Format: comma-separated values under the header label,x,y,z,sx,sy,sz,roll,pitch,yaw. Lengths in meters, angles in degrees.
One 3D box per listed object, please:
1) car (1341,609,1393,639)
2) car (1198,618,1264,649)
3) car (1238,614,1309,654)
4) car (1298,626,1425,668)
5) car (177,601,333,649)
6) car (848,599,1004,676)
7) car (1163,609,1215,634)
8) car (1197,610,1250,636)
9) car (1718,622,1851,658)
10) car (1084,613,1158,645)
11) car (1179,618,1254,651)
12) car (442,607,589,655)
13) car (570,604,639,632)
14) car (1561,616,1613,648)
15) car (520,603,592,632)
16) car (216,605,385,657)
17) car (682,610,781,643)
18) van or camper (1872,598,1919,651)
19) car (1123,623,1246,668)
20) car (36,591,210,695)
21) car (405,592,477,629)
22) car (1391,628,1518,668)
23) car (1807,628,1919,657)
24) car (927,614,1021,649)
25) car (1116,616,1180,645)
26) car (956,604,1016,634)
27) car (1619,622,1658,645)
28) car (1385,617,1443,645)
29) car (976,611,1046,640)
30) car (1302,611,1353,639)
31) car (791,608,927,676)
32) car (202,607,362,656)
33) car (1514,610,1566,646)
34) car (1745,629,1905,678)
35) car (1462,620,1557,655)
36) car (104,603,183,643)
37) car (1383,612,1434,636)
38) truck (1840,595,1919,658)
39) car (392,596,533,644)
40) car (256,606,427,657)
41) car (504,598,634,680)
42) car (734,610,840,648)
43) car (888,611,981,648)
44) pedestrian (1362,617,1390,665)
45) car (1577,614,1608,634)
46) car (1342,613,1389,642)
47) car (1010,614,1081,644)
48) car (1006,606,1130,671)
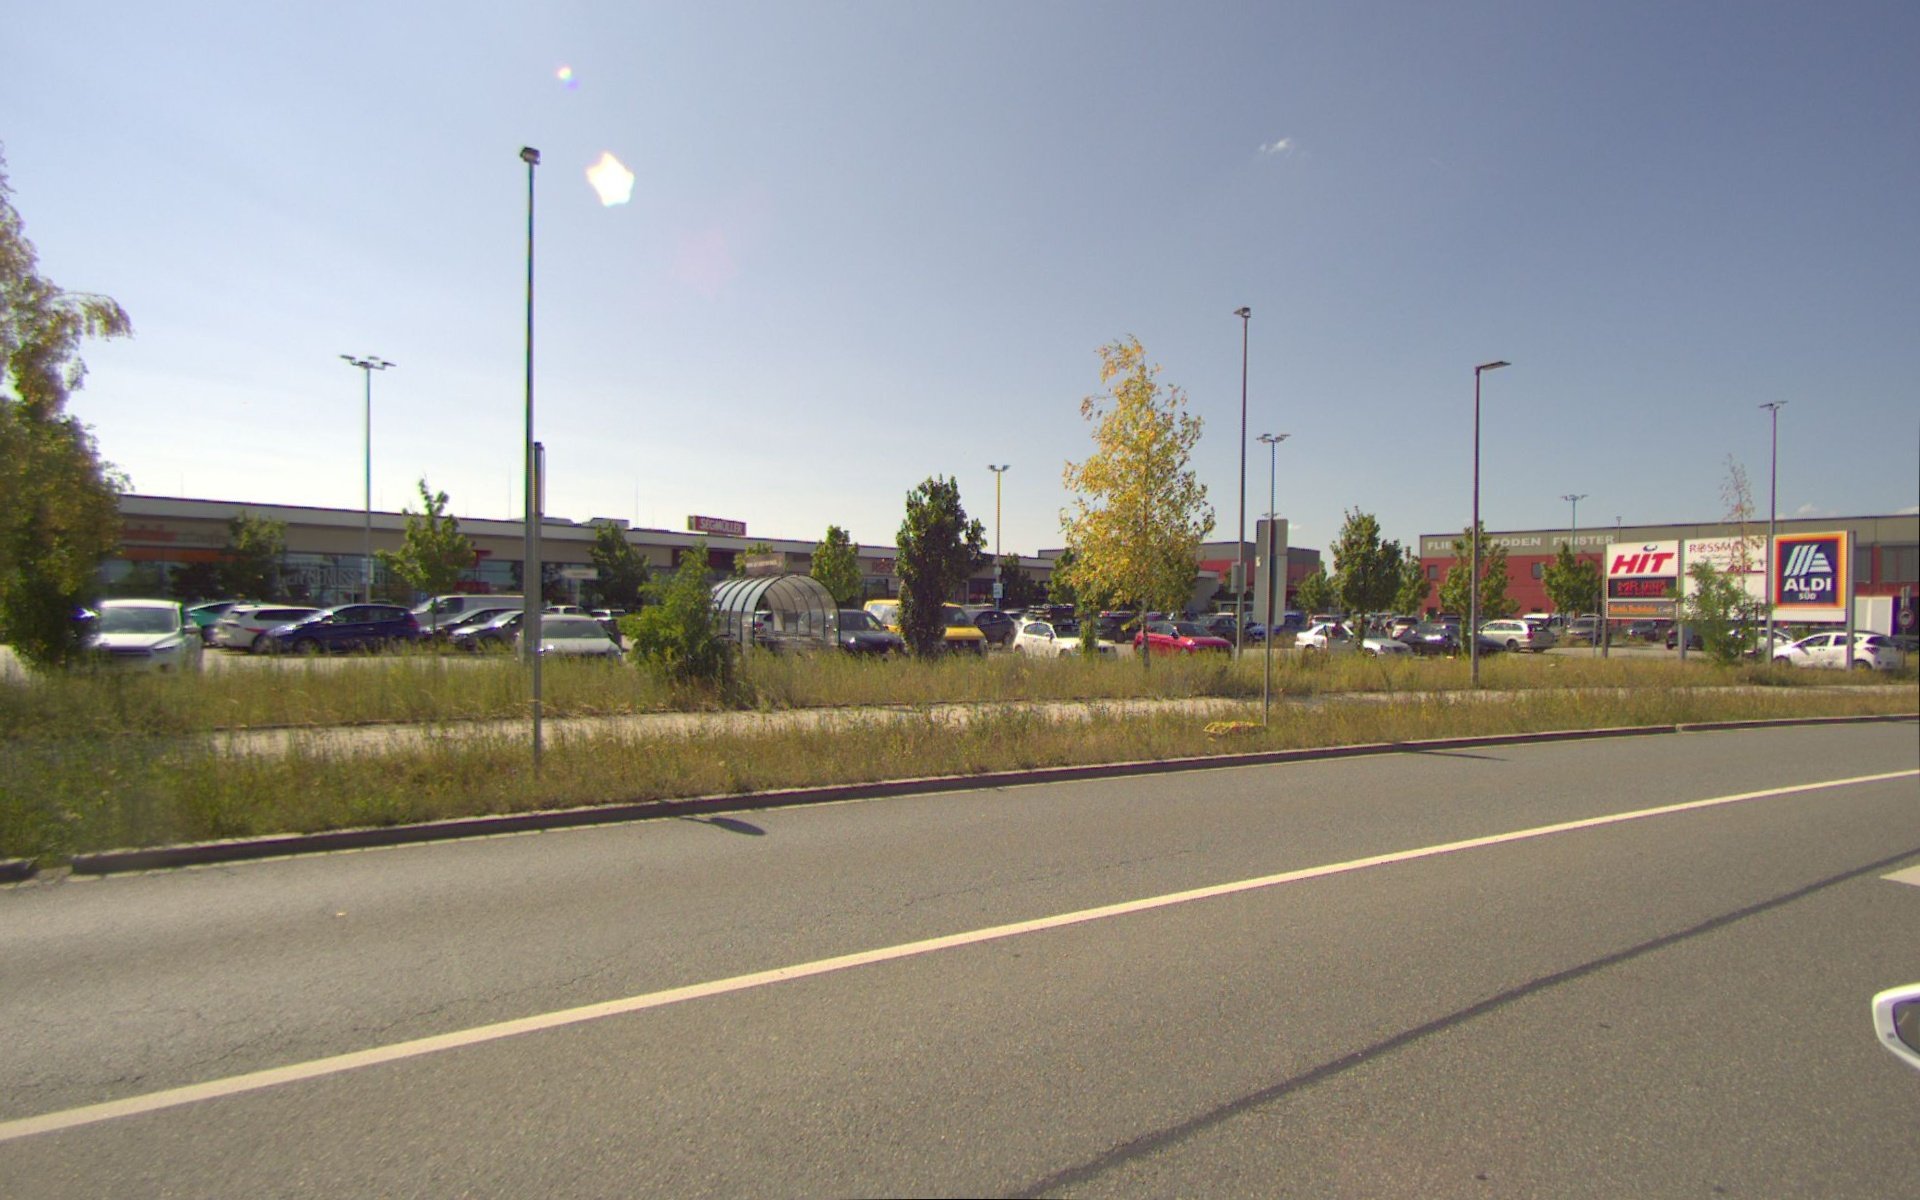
label,x,y,z,sx,sy,sz,roll,pitch,yaw
car,28.614,1.681,70.587,1.813,2.051,4.605,1,-1,44
car,14.950,1.839,55.335,1.693,1.602,4.330,0,-1,43
car,16.646,1.753,53.212,1.693,2.012,4.807,0,-1,43
car,14.504,1.672,36.522,1.911,1.366,4.131,1,-1,-26
car,-25.078,0.880,35.838,1.693,1.608,4.329,0,-1,44
car,-1.132,1.003,28.993,1.977,1.991,5.651,1,-1,-31
car,16.640,1.590,72.799,1.889,1.740,4.361,1,-1,40
car,18.725,1.627,71.277,1.889,1.748,4.361,1,-1,40
car,39.319,1.878,48.021,1.817,1.532,4.582,2,-1,-31
car,8.392,1.477,52.212,1.693,1.581,4.330,0,-1,43
car,12.537,1.662,48.931,1.693,1.536,4.330,0,-1,43
car,-15.254,1.045,34.623,1.692,1.546,4.332,0,-1,42
car,-20.256,1.009,57.160,4.288,1.561,1.710,0,-1,39
car,37.808,1.933,60.533,1.813,1.848,4.355,1,-1,44
car,-22.217,0.958,55.244,4.288,1.545,1.826,0,-1,39
car,-20.849,0.960,31.861,1.694,1.536,4.215,0,-1,44
car,-10.663,1.230,47.079,4.326,1.497,1.694,1,-1,-45
van or camper,65.656,1.649,66.473,2.536,3.514,7.625,2,-1,-41
car,7.453,1.478,33.752,1.911,1.366,4.131,1,-1,-26
car,-15.473,0.722,18.835,1.979,1.694,4.562,1,-1,-34
car,-26.770,0.528,51.732,4.288,1.831,1.710,0,-1,39
car,18.963,1.798,38.688,1.911,1.366,4.131,1,-1,-26
car,48.271,2.235,53.548,1.953,1.402,4.401,2,-1,-31
car,0.657,1.379,44.114,1.693,1.436,4.330,0,-1,43
car,11.046,1.774,58.813,1.693,1.596,4.330,0,-1,43
car,1.785,1.315,68.833,1.693,1.985,4.330,0,-1,43
car,49.525,2.445,73.299,1.811,1.583,4.359,1,-1,42
car,28.191,1.893,62.322,1.891,1.639,4.355,1,-1,44
car,2.978,1.465,58.330,1.693,1.637,4.330,0,-1,43
car,24.174,1.669,65.990,1.888,1.749,4.363,1,-1,38
car,-2.879,1.071,27.568,1.861,1.694,4.743,1,-1,-31
car,-22.753,1.052,33.819,1.694,1.536,4.215,0,-1,44
car,35.915,1.724,62.160,1.813,2.092,4.355,1,-1,44
car,31.263,1.904,36.421,1.890,1.568,3.978,2,-1,-23
car,26.528,1.792,48.626,1.810,1.568,3.988,1,-1,-15
car,-34.024,0.916,41.833,4.288,1.565,1.710,0,-1,39
car,30.698,1.661,68.661,1.813,1.603,4.355,1,-1,44
truck,55.373,1.562,58.541,7.365,3.510,2.318,1,0,-13
car,-18.978,0.765,38.455,4.553,1.764,1.695,1,-1,-44
car,-18.688,0.938,30.467,1.694,1.444,4.116,0,-1,44
car,-9.159,0.833,23.276,1.978,1.694,4.676,1,-1,-32
car,-7.455,1.256,43.519,4.326,1.546,1.694,1,-1,-45
car,-1.115,1.335,45.782,1.693,1.570,4.330,0,-1,43
pedestrian,15.454,1.518,37.328,0.571,1.717,0.762,1,0,-25
car,54.640,2.080,86.777,1.642,1.636,4.063,1,-1,41
car,25.928,1.754,64.128,1.885,1.740,4.369,1,-1,34
car,4.820,1.619,56.280,1.693,1.565,4.330,0,-1,43
car,3.279,1.150,31.359,1.908,1.886,4.128,1,-1,-27
